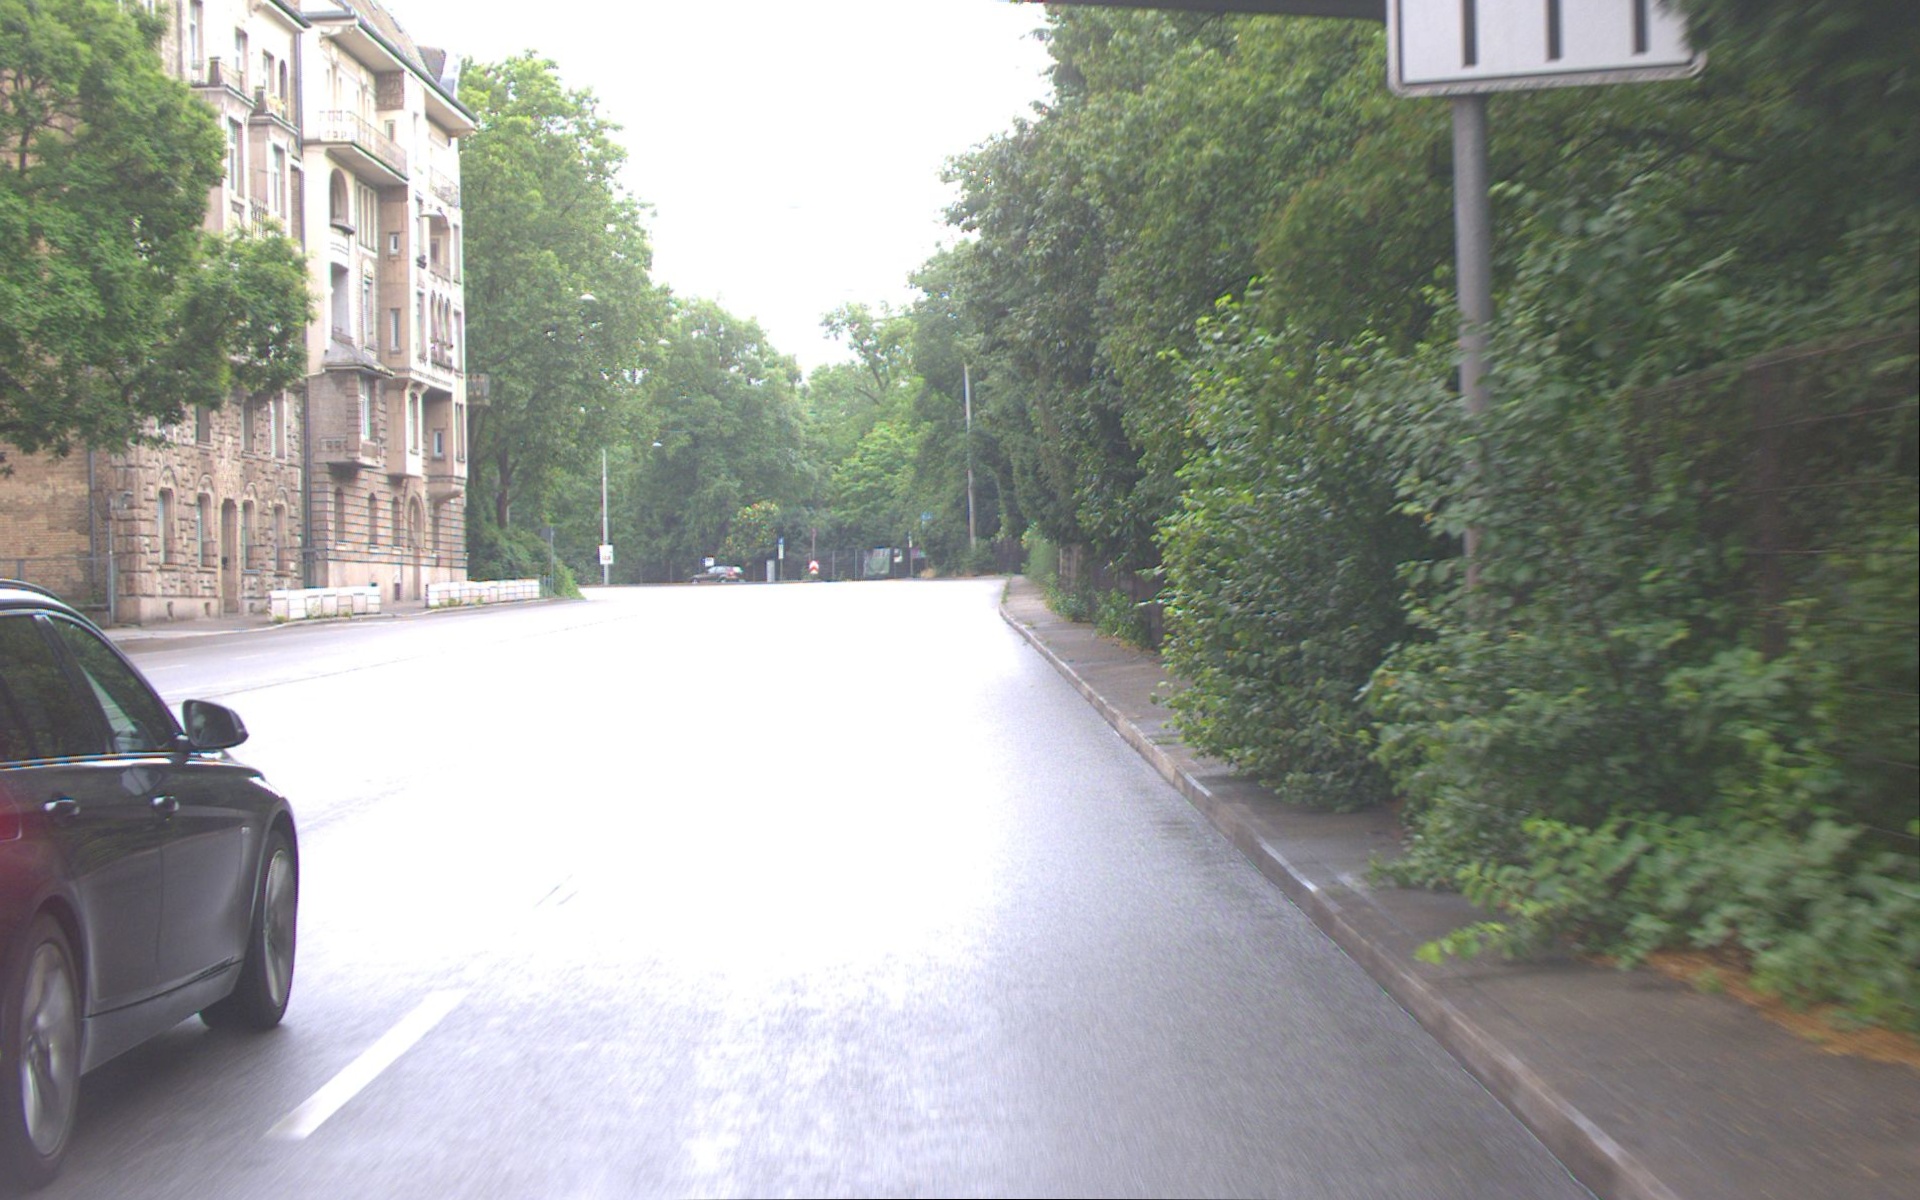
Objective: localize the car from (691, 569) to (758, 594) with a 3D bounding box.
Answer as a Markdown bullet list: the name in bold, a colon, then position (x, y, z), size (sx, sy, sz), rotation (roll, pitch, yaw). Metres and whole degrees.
- **car**: position (-14.799, -1.150, 215.604), size (4.368, 1.422, 1.688), rotation (-1, -2, 44)

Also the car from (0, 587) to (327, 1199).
- **car**: position (-2.973, 0.692, 9.182), size (1.757, 1.428, 4.413), rotation (1, 0, 0)
